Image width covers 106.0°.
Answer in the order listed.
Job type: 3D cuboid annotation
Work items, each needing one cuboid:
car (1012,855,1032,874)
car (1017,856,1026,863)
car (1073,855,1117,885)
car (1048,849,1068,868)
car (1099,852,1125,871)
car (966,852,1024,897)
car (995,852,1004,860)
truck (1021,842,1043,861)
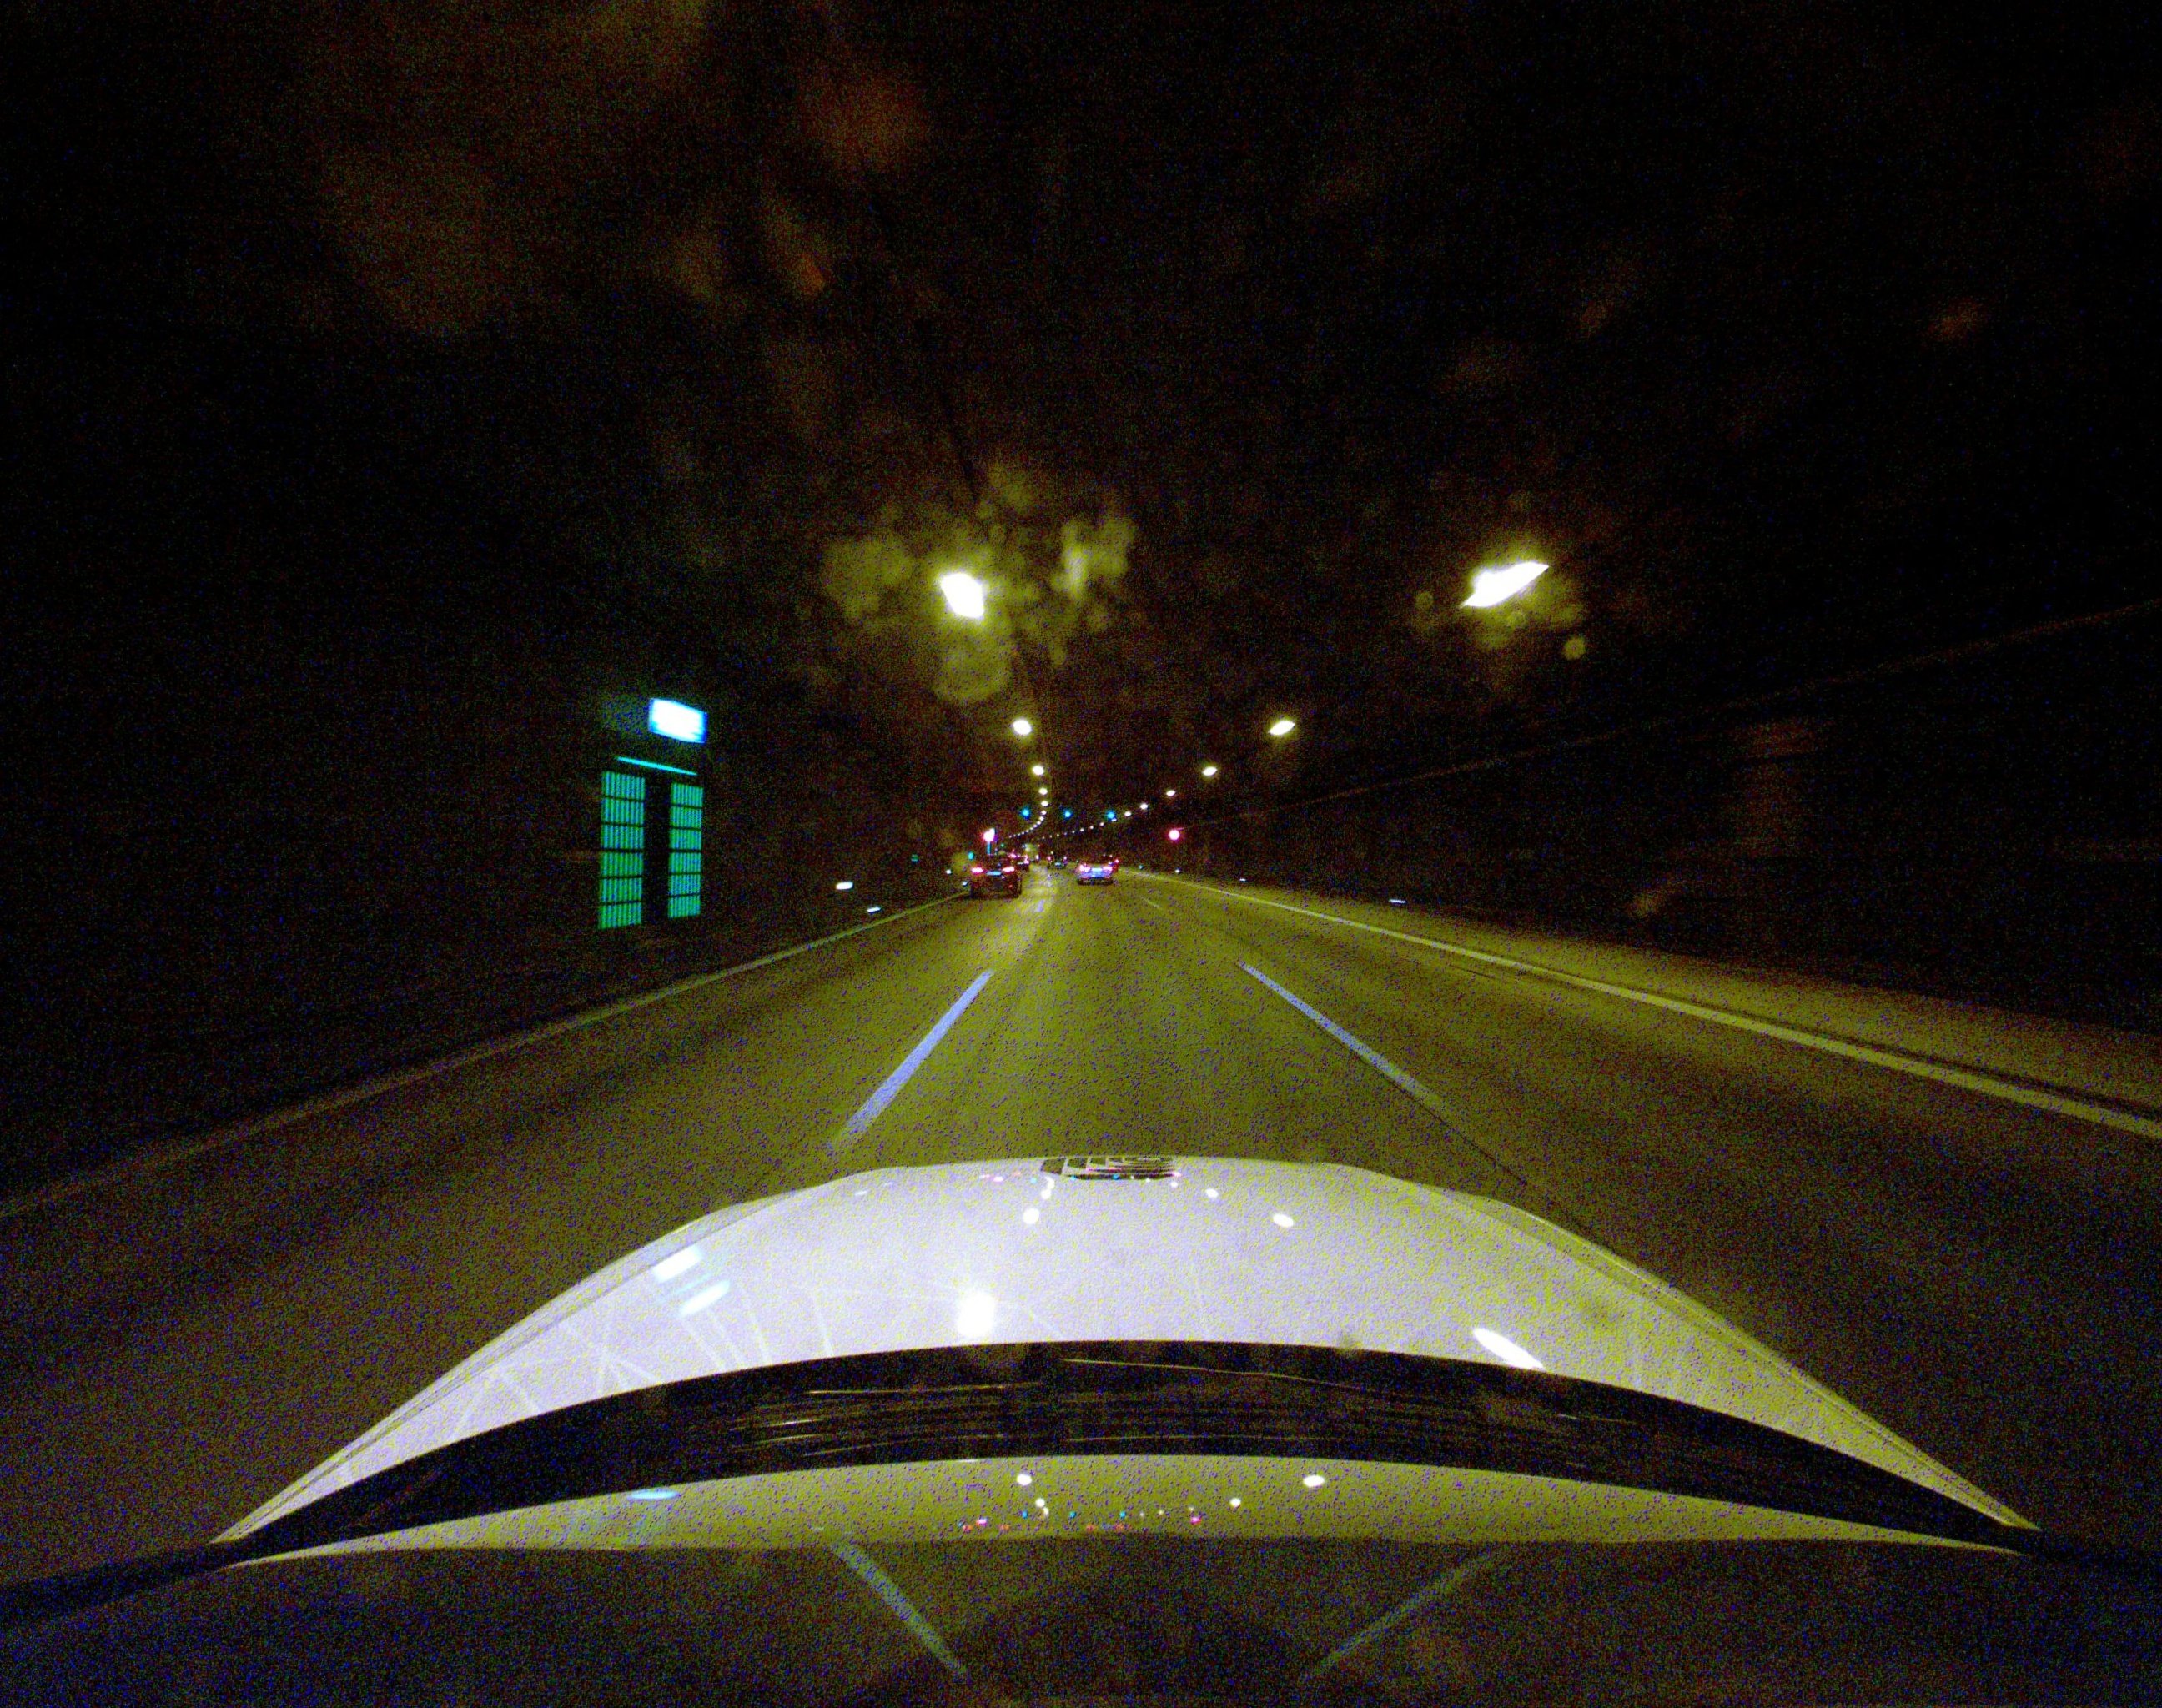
[{"bbox_3d":[-5.541,0.954,76.342,1.798,1.684,3.992,0,0,-5],"label":"car"},{"bbox_3d":[-14.669,1.296,200.827,1.994,1.754,3.986,1,-1,-10],"label":"car"},{"bbox_3d":[0.697,0.789,42.700,1.989,1.483,3.995,0,0,-4],"label":"car"},{"bbox_3d":[-2.478,0.488,86.714,1.989,1.972,3.996,-1,0,-3],"label":"car"},{"bbox_3d":[2.640,0.661,70.249,1.836,1.602,3.995,0,0,-4],"label":"car"},{"bbox_3d":[-3.218,0.748,31.115,1.779,1.598,3.801,-1,0,0],"label":"car"},{"bbox_3d":[-17.453,0.455,174.734,1.991,1.530,3.991,0,-1,-6],"label":"car"},{"bbox_3d":[-8.366,-0.451,138.160,3.080,3.113,10.006,1,1,-7],"label":"truck"}]
